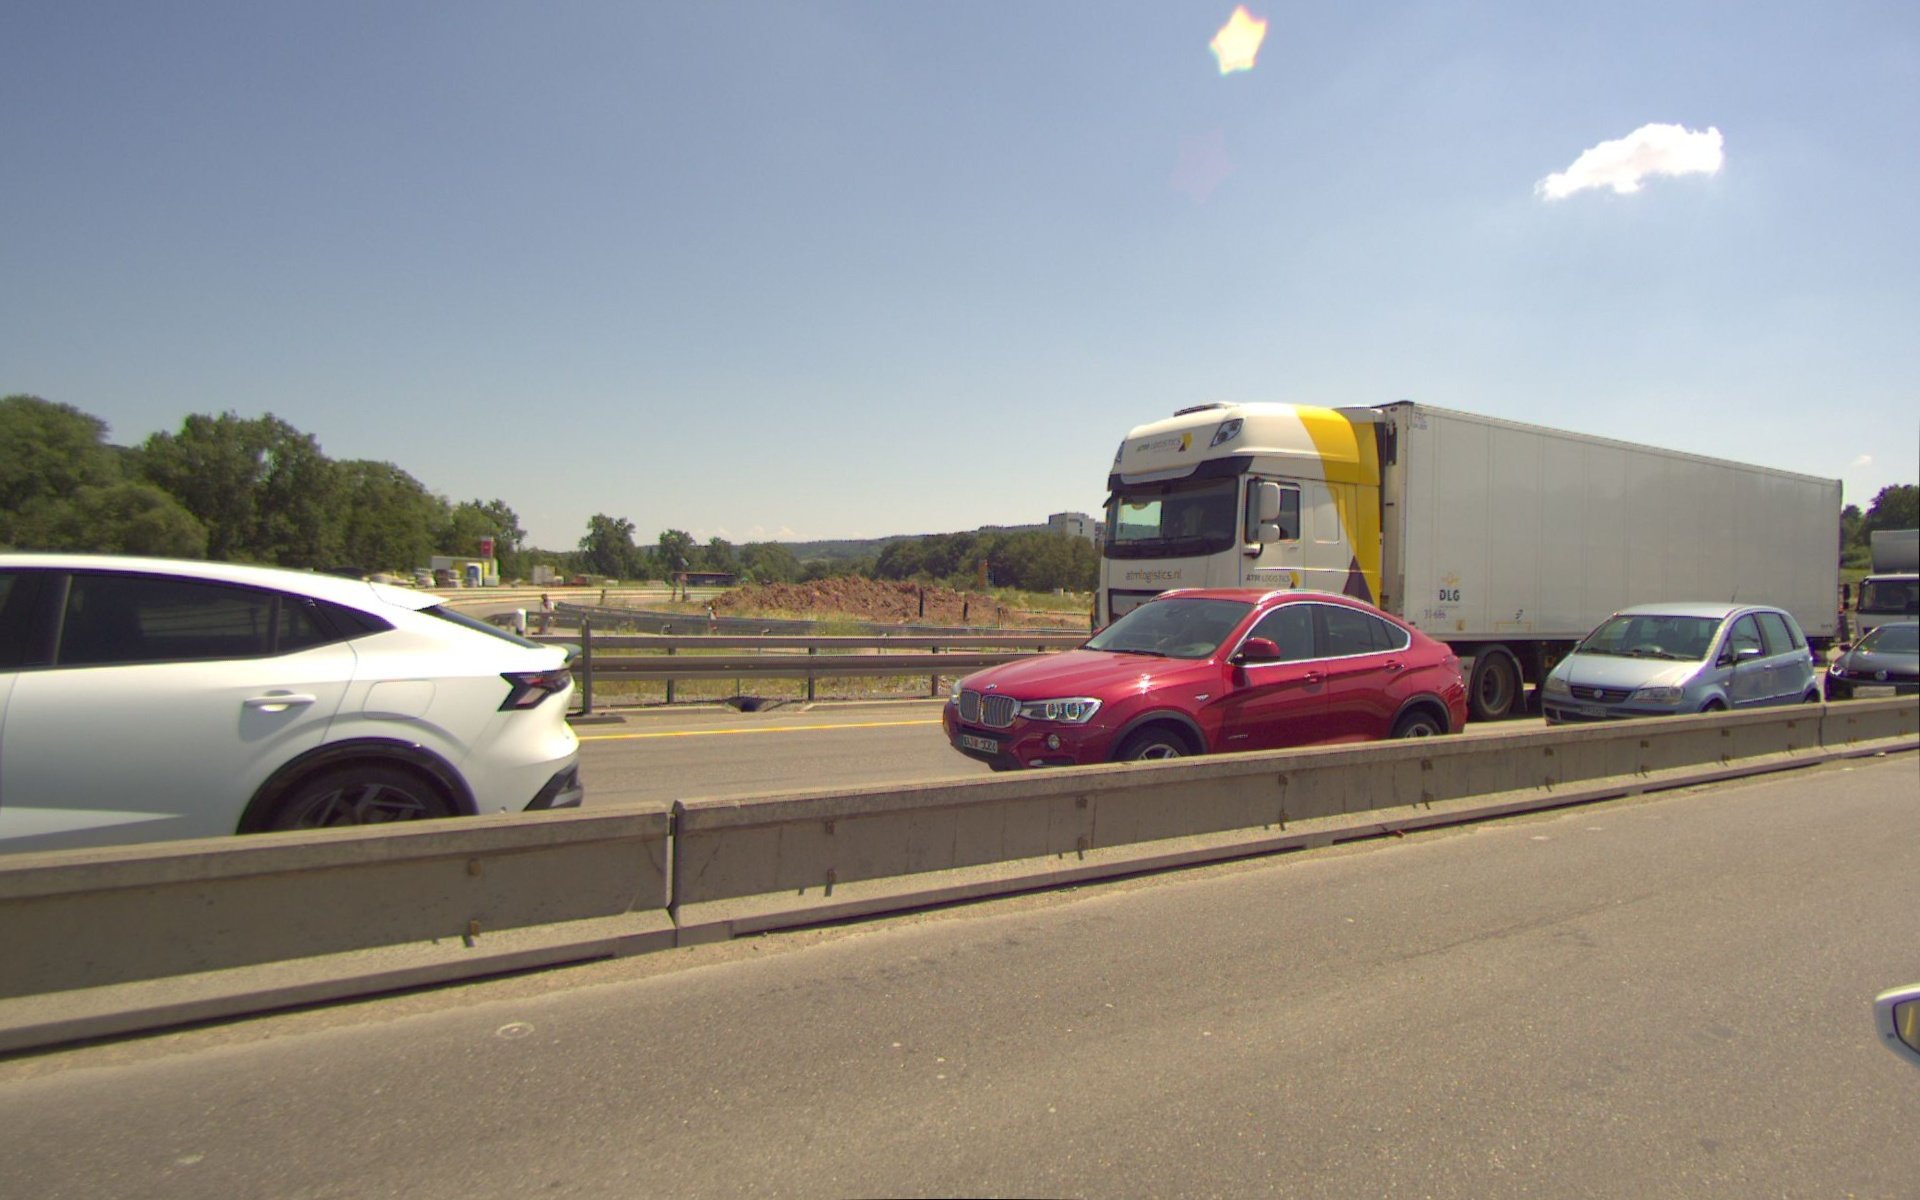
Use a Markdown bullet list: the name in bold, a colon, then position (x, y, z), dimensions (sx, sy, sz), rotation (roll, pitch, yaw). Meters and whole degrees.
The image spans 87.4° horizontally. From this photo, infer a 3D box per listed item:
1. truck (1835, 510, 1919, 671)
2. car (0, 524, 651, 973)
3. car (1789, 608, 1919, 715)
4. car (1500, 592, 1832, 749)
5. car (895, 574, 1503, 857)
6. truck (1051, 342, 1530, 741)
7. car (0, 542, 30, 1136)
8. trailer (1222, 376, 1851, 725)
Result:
- **truck**: position (26.755, -0.196, 26.917), dimensions (8.572, 3.907, 2.511), rotation (0, 1, -32)
- **car**: position (-4.082, 0.534, 4.481), dimensions (4.828, 1.642, 1.983), rotation (1, 0, -32)
- **car**: position (15.868, 0.965, 16.562), dimensions (4.286, 1.577, 1.985), rotation (1, 0, -29)
- **car**: position (8.500, 0.763, 12.035), dimensions (3.954, 1.595, 1.817), rotation (2, 0, -31)
- **car**: position (2.020, 0.656, 8.019), dimensions (4.704, 1.653, 1.983), rotation (0, 2, -32)
- **truck**: position (4.471, -0.591, 13.455), dimensions (5.805, 4.241, 2.963), rotation (1, 0, -30)
- **car**: position (-4.074, 0.573, 0.738), dimensions (4.653, 1.550, 1.809), rotation (2, 0, -32)
- **trailer**: position (10.560, -0.511, 17.148), dimensions (13.785, 4.265, 2.971), rotation (1, 0, -31)
